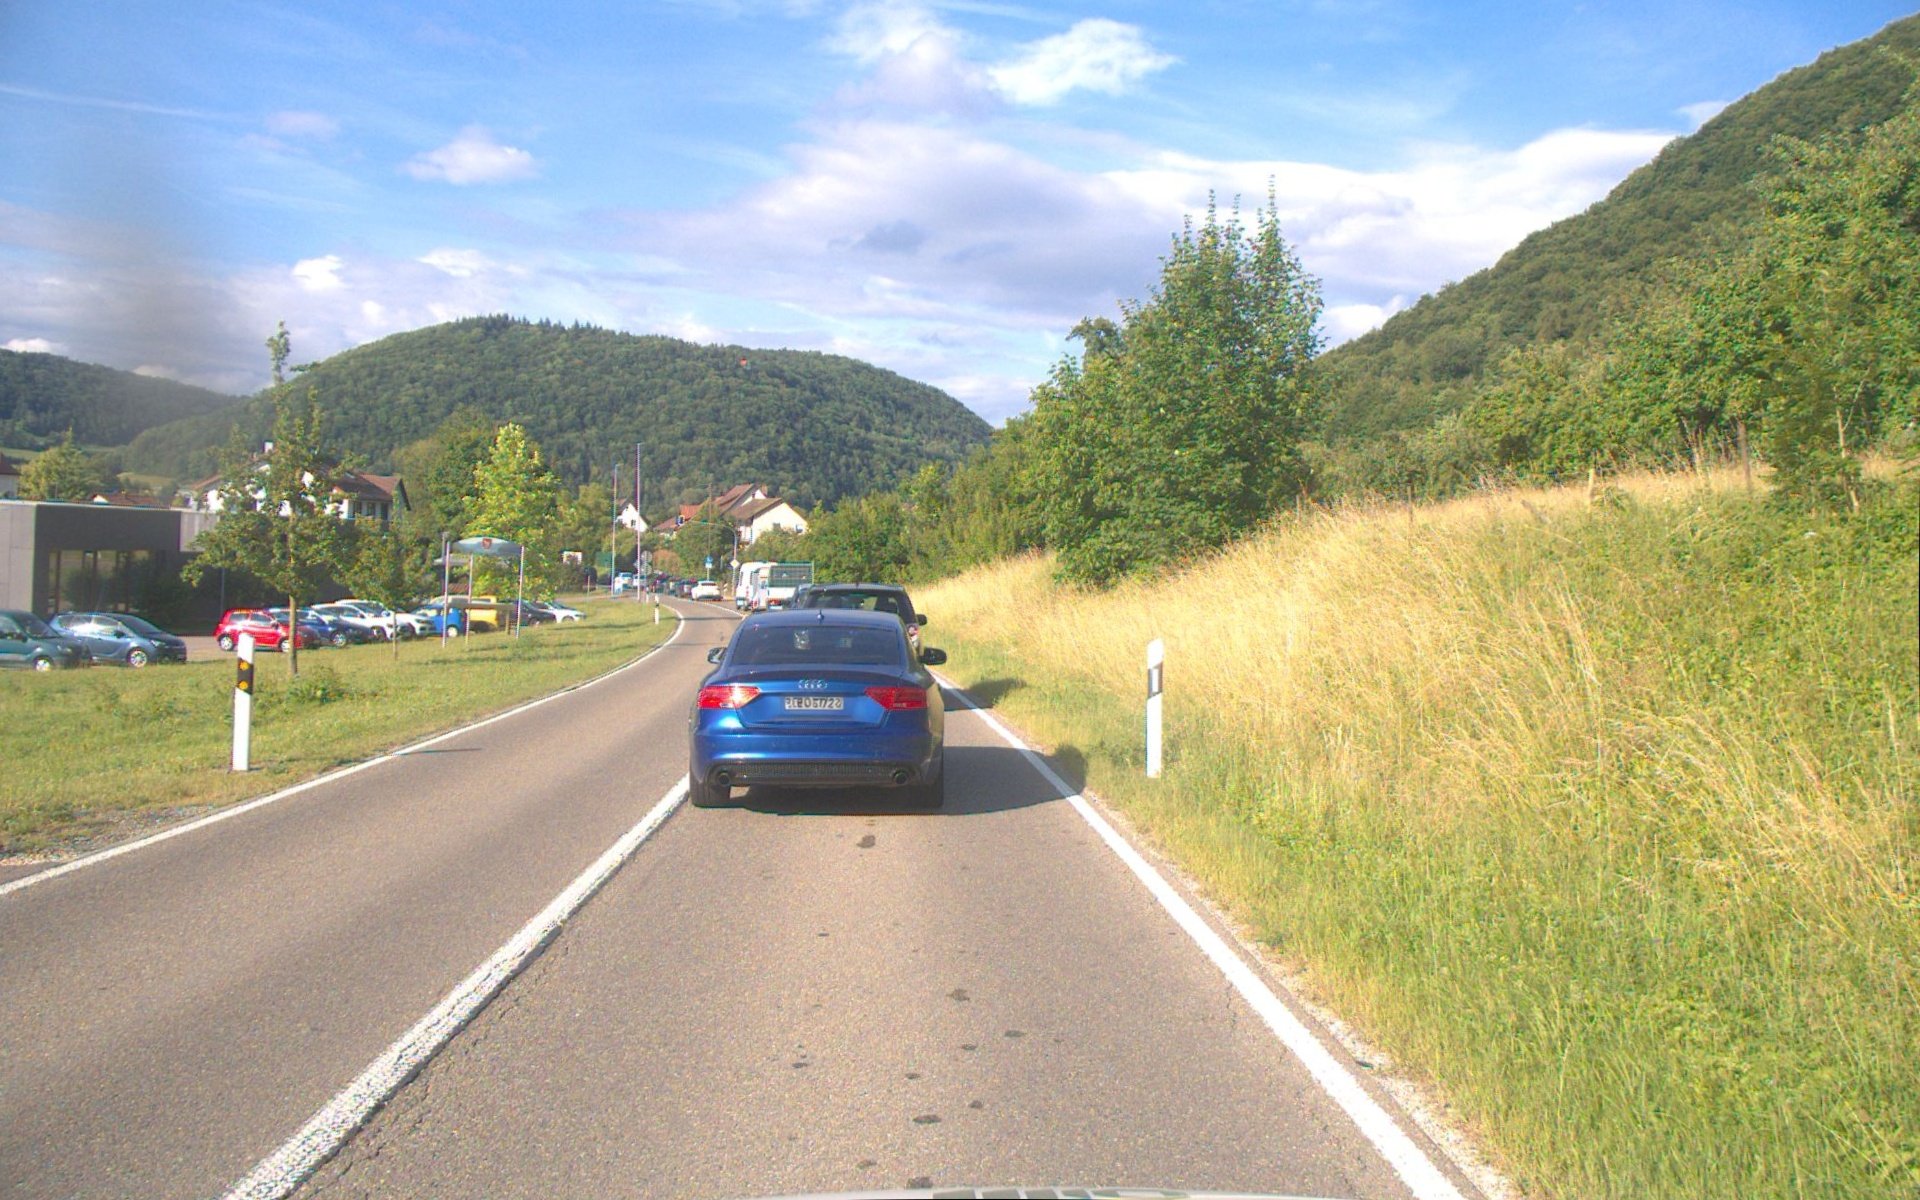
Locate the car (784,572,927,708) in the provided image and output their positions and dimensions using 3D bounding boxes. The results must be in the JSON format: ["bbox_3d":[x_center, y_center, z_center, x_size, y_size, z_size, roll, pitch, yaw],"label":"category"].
[{"bbox_3d":[-1.480,0.496,22.349,1.615,1.653,3.510,2,0,-8],"label":"car"}]

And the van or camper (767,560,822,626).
[{"bbox_3d":[-6.776,-0.296,67.156,2.013,2.549,5.801,0,0,-8],"label":"van or camper"}]

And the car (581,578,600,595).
[{"bbox_3d":[-43.252,-1.612,193.597,1.653,1.958,3.975,0,0,-21],"label":"car"}]

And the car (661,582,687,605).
[{"bbox_3d":[-24.645,-0.558,142.489,1.634,1.958,3.979,0,0,-18],"label":"car"}]

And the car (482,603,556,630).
[{"bbox_3d":[-24.249,0.891,91.076,3.634,1.464,1.510,0,0,4],"label":"car"}]

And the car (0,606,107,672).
[{"bbox_3d":[-26.182,1.077,46.192,3.782,1.752,1.756,1,0,1],"label":"car"}]

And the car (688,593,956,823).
[{"bbox_3d":[-1.020,0.700,12.465,1.708,1.476,3.514,1,0,-4],"label":"car"}]

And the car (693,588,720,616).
[{"bbox_3d":[-18.402,0.133,119.826,1.631,1.958,3.986,0,0,-13],"label":"car"}]

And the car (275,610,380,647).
[{"bbox_3d":[-25.200,1.122,65.974,3.548,1.429,1.597,0,0,4],"label":"car"}]

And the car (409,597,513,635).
[{"bbox_3d":[-24.432,0.782,81.053,4.457,1.846,1.842,0,0,4],"label":"car"}]

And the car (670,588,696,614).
[{"bbox_3d":[-22.022,0.070,131.416,1.632,1.958,3.984,0,0,-15],"label":"car"}]

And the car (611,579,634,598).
[{"bbox_3d":[-35.326,-1.232,173.168,1.654,1.958,3.972,0,0,-23],"label":"car"}]

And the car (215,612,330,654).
[{"bbox_3d":[-25.292,1.204,60.910,3.548,1.469,1.649,0,0,4],"label":"car"}]

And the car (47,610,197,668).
[{"bbox_3d":[-25.695,1.180,50.774,3.738,1.752,1.733,0,0,3],"label":"car"}]

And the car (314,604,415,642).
[{"bbox_3d":[-24.887,0.962,69.146,3.589,1.519,1.598,0,2,4],"label":"car"}]

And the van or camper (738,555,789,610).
[{"bbox_3d":[-10.283,-0.907,86.283,2.240,2.761,5.752,0,0,-11],"label":"van or camper"}]

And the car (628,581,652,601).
[{"bbox_3d":[-31.835,-0.877,164.384,1.653,1.958,3.974,0,0,-22],"label":"car"}]

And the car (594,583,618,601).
[{"bbox_3d":[-38.641,-0.900,180.459,1.927,1.958,3.975,0,0,-21],"label":"car"}]

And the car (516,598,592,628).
[{"bbox_3d":[-23.452,0.738,95.648,3.951,1.689,1.656,0,0,4],"label":"car"}]

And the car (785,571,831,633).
[{"bbox_3d":[-5.295,0.051,57.714,1.537,2.049,3.995,0,0,-5],"label":"car"}]

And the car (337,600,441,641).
[{"bbox_3d":[-25.026,0.902,72.564,3.991,1.702,1.598,0,2,4],"label":"car"}]

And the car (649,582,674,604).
[{"bbox_3d":[-27.501,-0.608,152.317,1.652,1.958,3.977,0,0,-20],"label":"car"}]

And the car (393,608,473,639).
[{"bbox_3d":[-24.996,1.109,78.477,3.302,1.397,1.659,0,0,-4],"label":"car"}]
